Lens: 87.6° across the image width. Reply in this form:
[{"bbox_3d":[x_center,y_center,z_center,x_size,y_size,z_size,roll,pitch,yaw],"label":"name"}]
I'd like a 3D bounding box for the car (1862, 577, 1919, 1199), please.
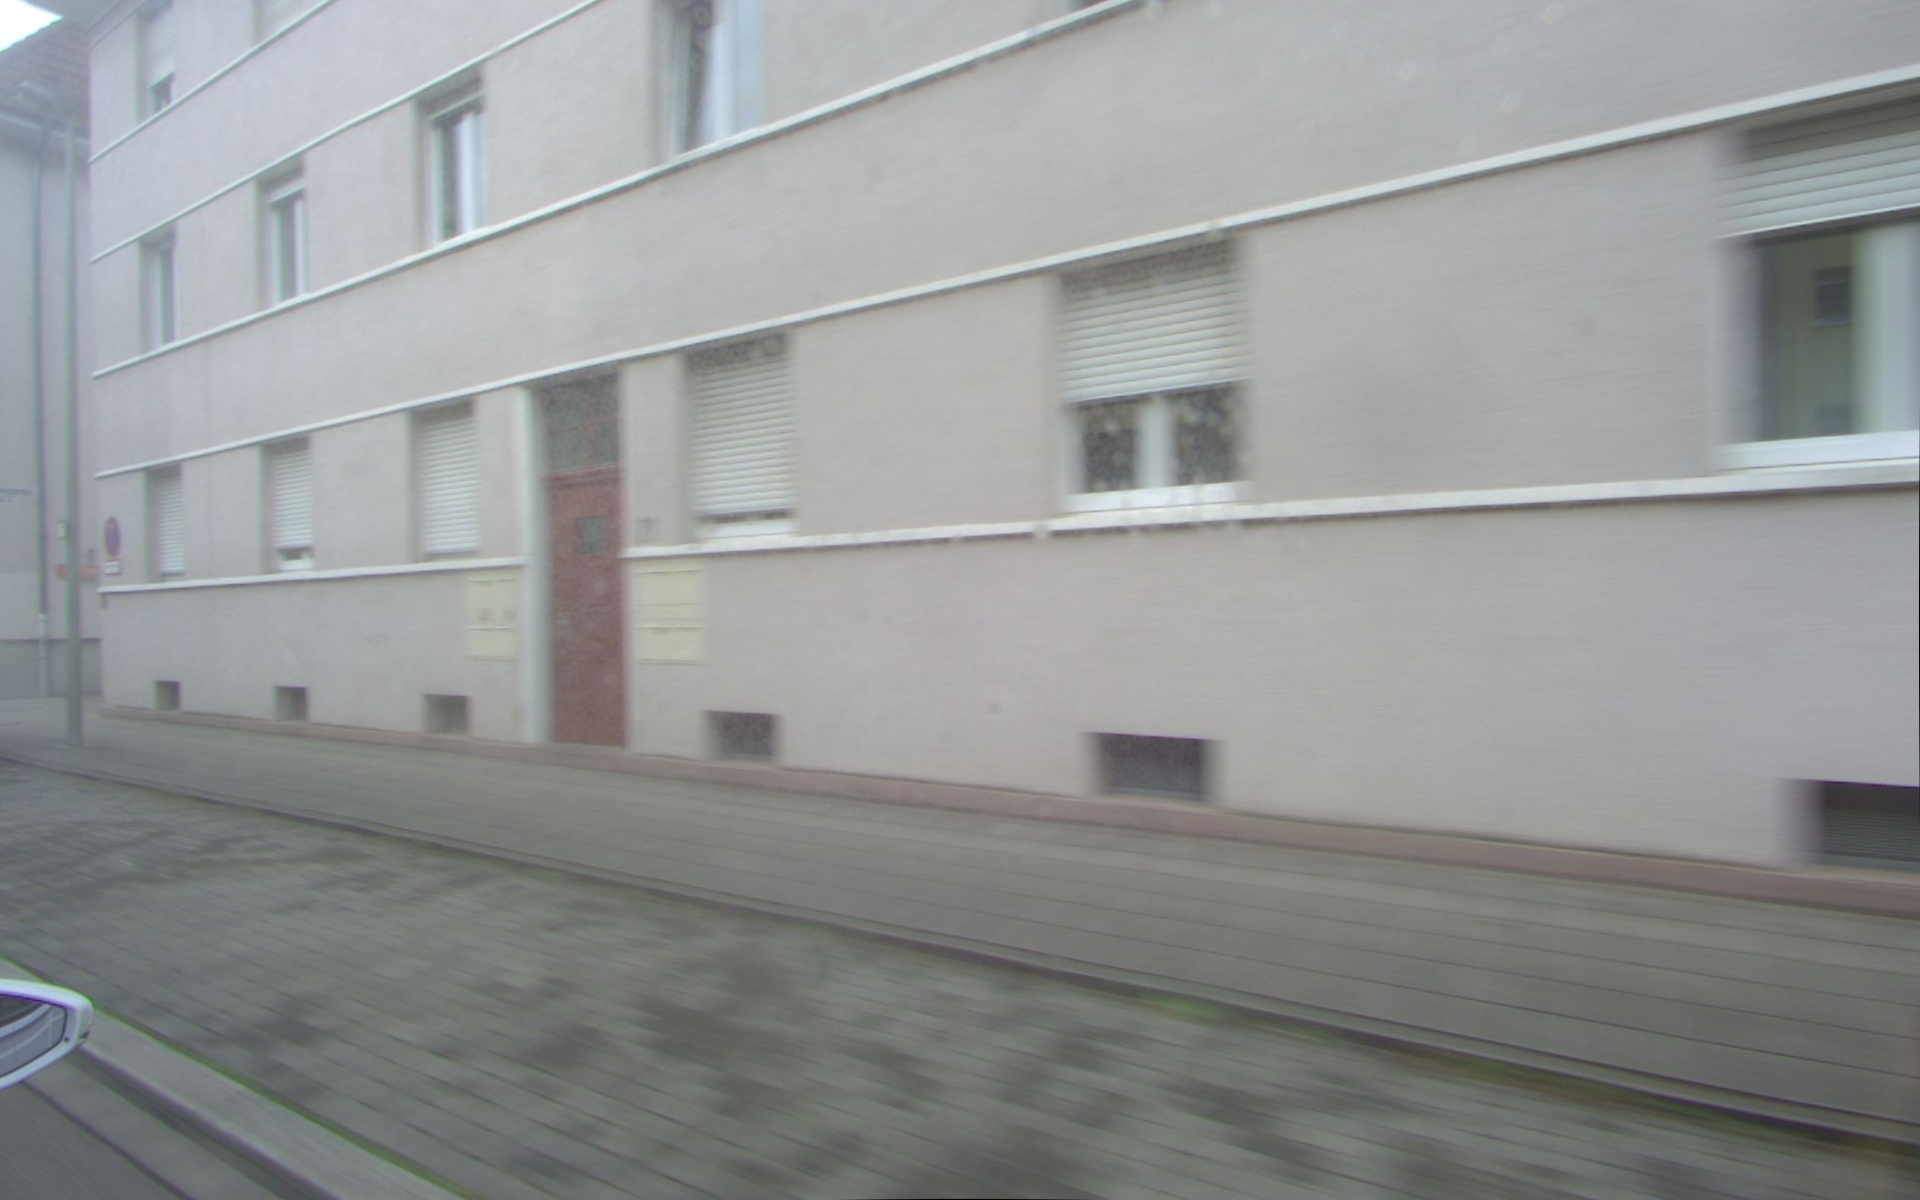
[{"bbox_3d":[3.386,0.707,0.751,3.771,1.545,1.692,-1,0,33],"label":"car"}]
